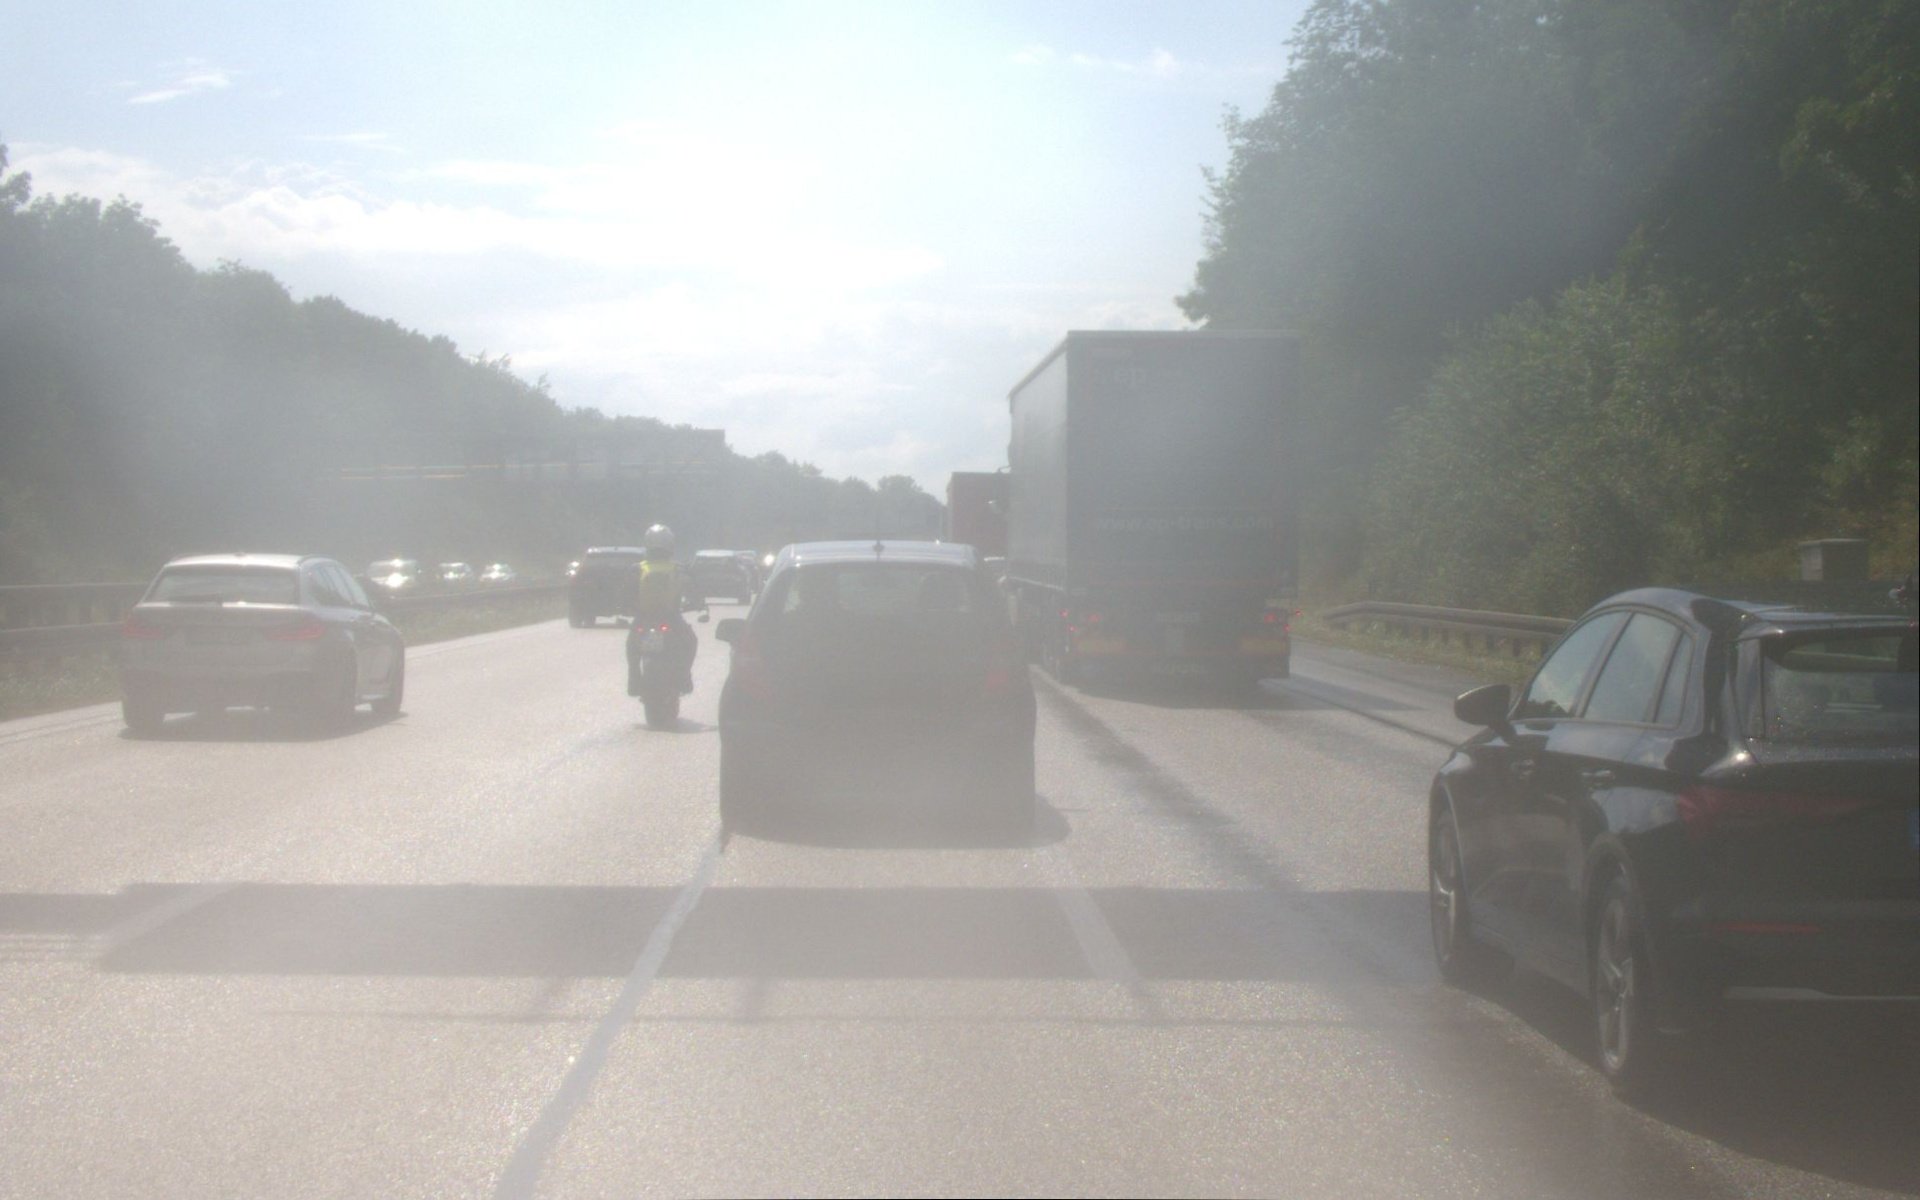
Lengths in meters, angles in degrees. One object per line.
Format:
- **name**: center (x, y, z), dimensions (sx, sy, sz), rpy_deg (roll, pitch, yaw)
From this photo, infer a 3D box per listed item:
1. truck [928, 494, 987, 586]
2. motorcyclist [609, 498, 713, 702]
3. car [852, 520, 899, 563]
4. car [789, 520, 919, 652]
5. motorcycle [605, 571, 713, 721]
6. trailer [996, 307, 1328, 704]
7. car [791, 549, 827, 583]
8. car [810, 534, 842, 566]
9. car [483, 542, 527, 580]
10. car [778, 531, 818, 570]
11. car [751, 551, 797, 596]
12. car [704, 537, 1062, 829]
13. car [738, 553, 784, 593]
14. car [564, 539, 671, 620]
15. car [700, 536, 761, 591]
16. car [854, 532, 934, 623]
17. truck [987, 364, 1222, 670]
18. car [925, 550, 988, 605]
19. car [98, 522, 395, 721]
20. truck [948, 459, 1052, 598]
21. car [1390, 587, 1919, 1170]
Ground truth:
- **truck**: center (-0.194, -3.139, 182.730), dimensions (2.882, 4.671, 12.659), rpy_deg (1, 0, -1)
- **motorcyclist**: center (-2.636, -0.009, 30.425), dimensions (0.821, 1.755, 1.390), rpy_deg (1, 0, -2)
- **car**: center (-2.989, -2.056, 121.244), dimensions (1.631, 1.485, 3.437), rpy_deg (0, 1, -1)
- **car**: center (-1.695, -0.233, 55.043), dimensions (1.993, 2.007, 4.000), rpy_deg (1, 0, -2)
- **motorcycle**: center (-2.641, 0.385, 30.367), dimensions (0.819, 1.258, 2.118), rpy_deg (1, 1, -2)
- **trailer**: center (2.276, -1.123, 44.479), dimensions (3.088, 4.298, 14.106), rpy_deg (0, 1, -1)
- **car**: center (-8.890, -1.997, 202.768), dimensions (1.993, 2.007, 4.000), rpy_deg (1, 0, -1)
- **car**: center (-8.601, -3.184, 220.479), dimensions (1.993, 2.007, 4.000), rpy_deg (1, 0, -1)
- **car**: center (-25.087, -2.158, 189.613), dimensions (1.993, 2.007, 4.001), rpy_deg (1, 1, -2)
- **car**: center (-8.507, -2.563, 180.332), dimensions (1.993, 2.007, 4.000), rpy_deg (1, 0, -1)
- **car**: center (-8.603, -1.230, 158.888), dimensions (1.993, 2.007, 4.000), rpy_deg (1, 0, -1)
- **car**: center (-0.468, 0.414, 20.591), dimensions (1.915, 1.560, 4.314), rpy_deg (0, 1, -1)
- **car**: center (-7.690, -1.052, 133.011), dimensions (1.675, 1.485, 3.437), rpy_deg (0, 1, -1)
- **car**: center (-7.070, -0.446, 71.297), dimensions (1.893, 1.622, 4.195), rpy_deg (0, 1, -1)
- **car**: center (-6.855, -1.096, 102.767), dimensions (1.675, 1.591, 3.437), rpy_deg (0, 1, -1)
- **car**: center (-1.451, -0.501, 74.740), dimensions (1.675, 1.929, 3.774), rpy_deg (0, 1, -1)
- **truck**: center (2.072, -1.239, 51.720), dimensions (3.052, 4.310, 5.887), rpy_deg (1, 1, -2)
- **car**: center (-0.115, -0.630, 95.485), dimensions (1.675, 1.485, 3.437), rpy_deg (0, 1, -1)
- **car**: center (-6.067, 0.143, 29.680), dimensions (1.758, 1.589, 4.331), rpy_deg (0, 1, -1)
- **truck**: center (1.252, -2.324, 113.684), dimensions (3.202, 4.389, 9.433), rpy_deg (0, 1, -1)
- **car**: center (2.542, 0.681, 10.667), dimensions (1.755, 1.391, 4.369), rpy_deg (0, 1, -1)
